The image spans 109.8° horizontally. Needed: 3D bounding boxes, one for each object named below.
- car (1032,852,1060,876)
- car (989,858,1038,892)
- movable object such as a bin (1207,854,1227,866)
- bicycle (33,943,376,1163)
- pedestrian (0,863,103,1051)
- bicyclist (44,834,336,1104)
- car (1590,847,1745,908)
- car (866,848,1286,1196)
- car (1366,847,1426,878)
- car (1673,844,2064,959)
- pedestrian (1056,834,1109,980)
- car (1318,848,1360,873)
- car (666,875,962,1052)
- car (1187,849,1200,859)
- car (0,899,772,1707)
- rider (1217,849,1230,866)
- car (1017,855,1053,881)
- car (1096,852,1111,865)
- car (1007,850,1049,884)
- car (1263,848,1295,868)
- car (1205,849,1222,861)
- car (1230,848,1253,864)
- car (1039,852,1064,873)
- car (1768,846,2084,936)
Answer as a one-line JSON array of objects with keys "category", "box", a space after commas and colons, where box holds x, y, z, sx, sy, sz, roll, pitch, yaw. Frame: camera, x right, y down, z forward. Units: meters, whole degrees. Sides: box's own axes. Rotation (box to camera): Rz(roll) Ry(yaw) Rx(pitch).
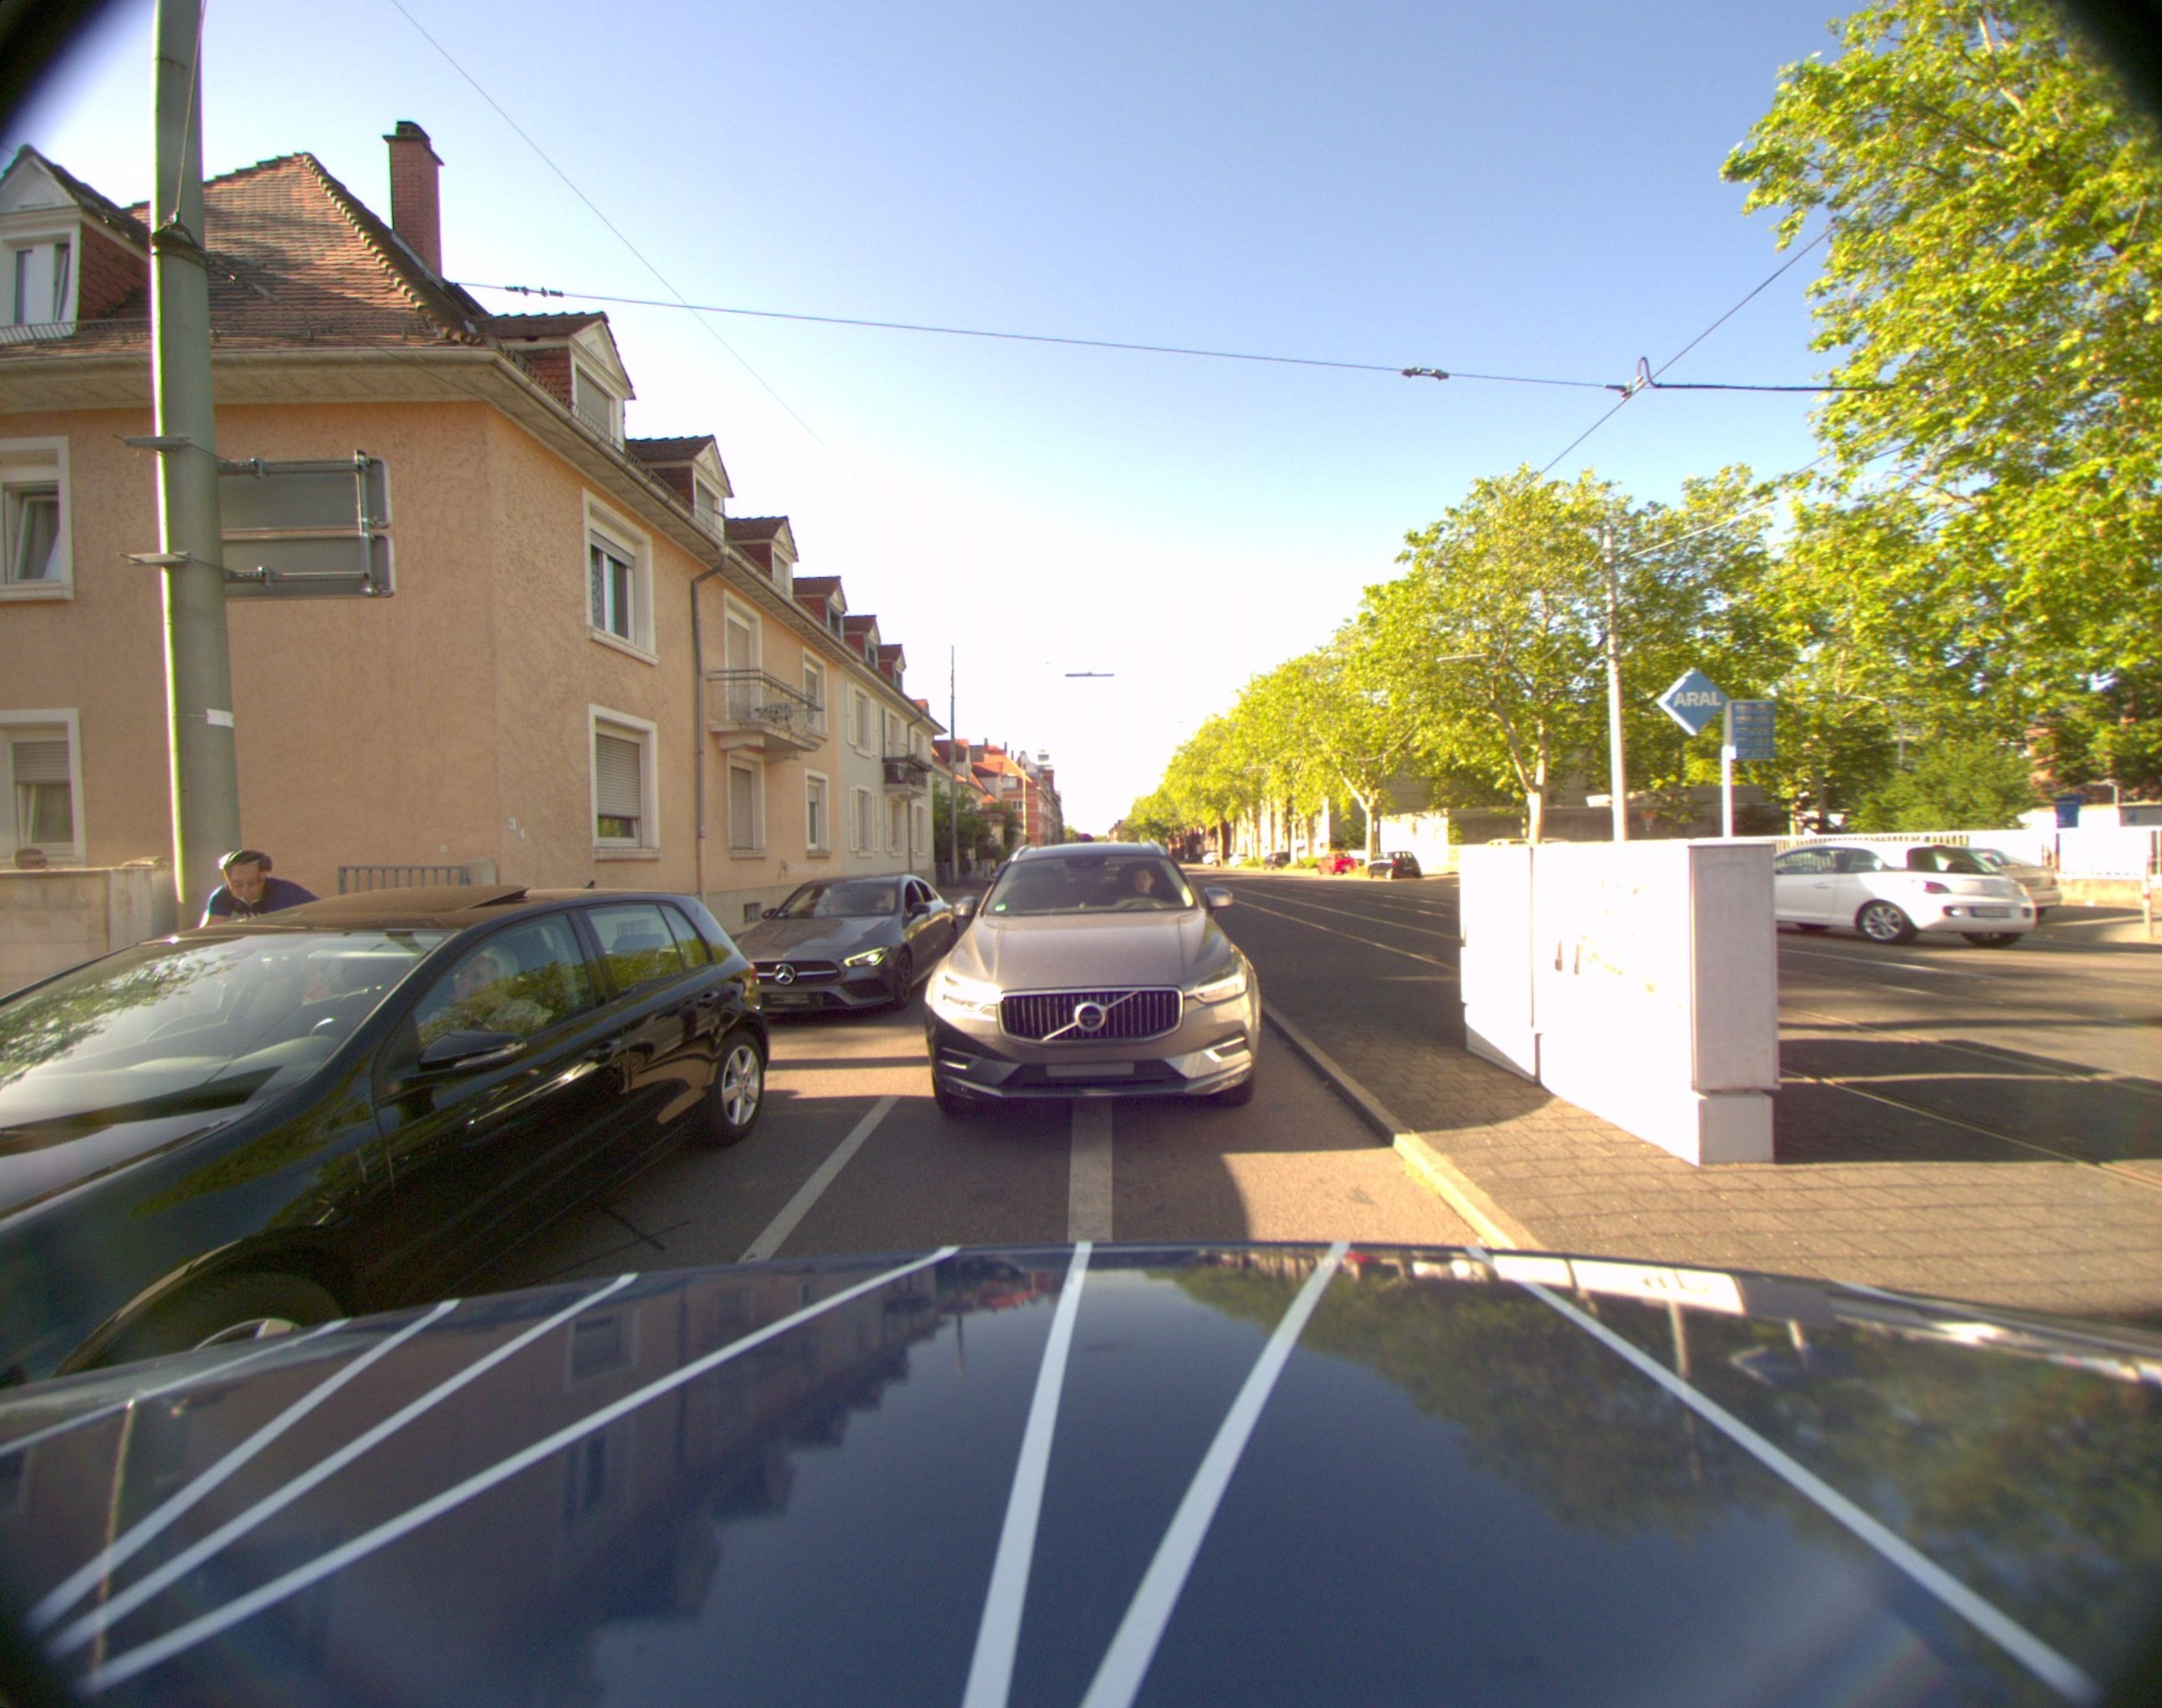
[{"category": "car", "box": [-2.773, 0.768, 60.904, 1.825, 1.701, 4.334, -2, 1, 1]}, {"category": "car", "box": [-3.223, 0.959, 37.130, 1.825, 1.422, 4.334, -2, 1, 1]}, {"category": "movable object such as a bin", "box": [13.257, 0.546, 74.032, 1.179, 1.097, 1.832, -2, 1, -14]}, {"category": "bicycle", "box": [-5.788, 1.244, 5.182, 0.556, 1.069, 1.624, 2, 0, -7]}, {"category": "pedestrian", "box": [-9.790, 0.912, 6.970, 0.760, 1.596, 0.611, 4, 1, -2]}, {"category": "bicyclist", "box": [-5.961, 0.735, 5.151, 1.021, 1.684, 0.729, 2, 0, -7]}, {"category": "car", "box": [16.379, 0.594, 21.452, 1.619, 1.436, 3.606, -5, 1, 3]}, {"category": "car", "box": [0.127, 0.795, 5.769, 1.924, 1.579, 4.387, -2, 1, 4]}, {"category": "car", "box": [16.846, 0.441, 40.830, 1.723, 1.436, 3.769, -5, 1, 3]}, {"category": "car", "box": [11.580, 0.591, 11.646, 1.743, 1.427, 3.933, 2, 1, -3]}, {"category": "pedestrian", "box": [0.027, 0.673, 9.982, 0.609, 1.832, 0.599, -2, 1, 1]}, {"category": "car", "box": [16.935, 0.395, 50.026, 1.661, 1.486, 3.377, -4, 1, 3]}, {"category": "car", "box": [-2.711, 1.029, 8.950, 1.825, 1.422, 4.490, -2, -1, 0]}, {"category": "car", "box": [18.568, 0.049, 125.546, 1.661, 1.452, 3.730, -5, 1, 3]}, {"category": "car", "box": [-2.795, 1.041, 2.633, 1.717, 1.430, 3.990, -2, 1, 1]}, {"category": "rider", "box": [13.657, 0.312, 72.757, 0.726, 1.639, 1.105, -3, 1, -14]}, {"category": "car", "box": [-2.794, 0.828, 47.136, 1.825, 1.424, 4.334, -2, 1, 1]}, {"category": "car", "box": [2.899, 0.578, 98.262, 1.851, 1.640, 3.999, -2, 1, 1]}, {"category": "car", "box": [-2.899, 0.684, 42.385, 1.825, 1.701, 4.334, -2, 1, 1]}, {"category": "car", "box": [17.146, 0.314, 65.963, 1.754, 1.582, 3.878, -4, 1, 3]}, {"category": "car", "box": [17.587, 0.093, 100.670, 1.661, 1.452, 3.730, -5, 1, 3]}, {"category": "car", "box": [17.631, 0.238, 83.456, 1.754, 1.532, 3.878, -5, 1, 3]}, {"category": "car", "box": [-2.584, 0.689, 67.270, 1.825, 1.701, 4.334, -2, 1, 1]}, {"category": "car", "box": [16.206, 0.626, 14.942, 1.687, 1.358, 3.989, -6, 0, 1]}]
